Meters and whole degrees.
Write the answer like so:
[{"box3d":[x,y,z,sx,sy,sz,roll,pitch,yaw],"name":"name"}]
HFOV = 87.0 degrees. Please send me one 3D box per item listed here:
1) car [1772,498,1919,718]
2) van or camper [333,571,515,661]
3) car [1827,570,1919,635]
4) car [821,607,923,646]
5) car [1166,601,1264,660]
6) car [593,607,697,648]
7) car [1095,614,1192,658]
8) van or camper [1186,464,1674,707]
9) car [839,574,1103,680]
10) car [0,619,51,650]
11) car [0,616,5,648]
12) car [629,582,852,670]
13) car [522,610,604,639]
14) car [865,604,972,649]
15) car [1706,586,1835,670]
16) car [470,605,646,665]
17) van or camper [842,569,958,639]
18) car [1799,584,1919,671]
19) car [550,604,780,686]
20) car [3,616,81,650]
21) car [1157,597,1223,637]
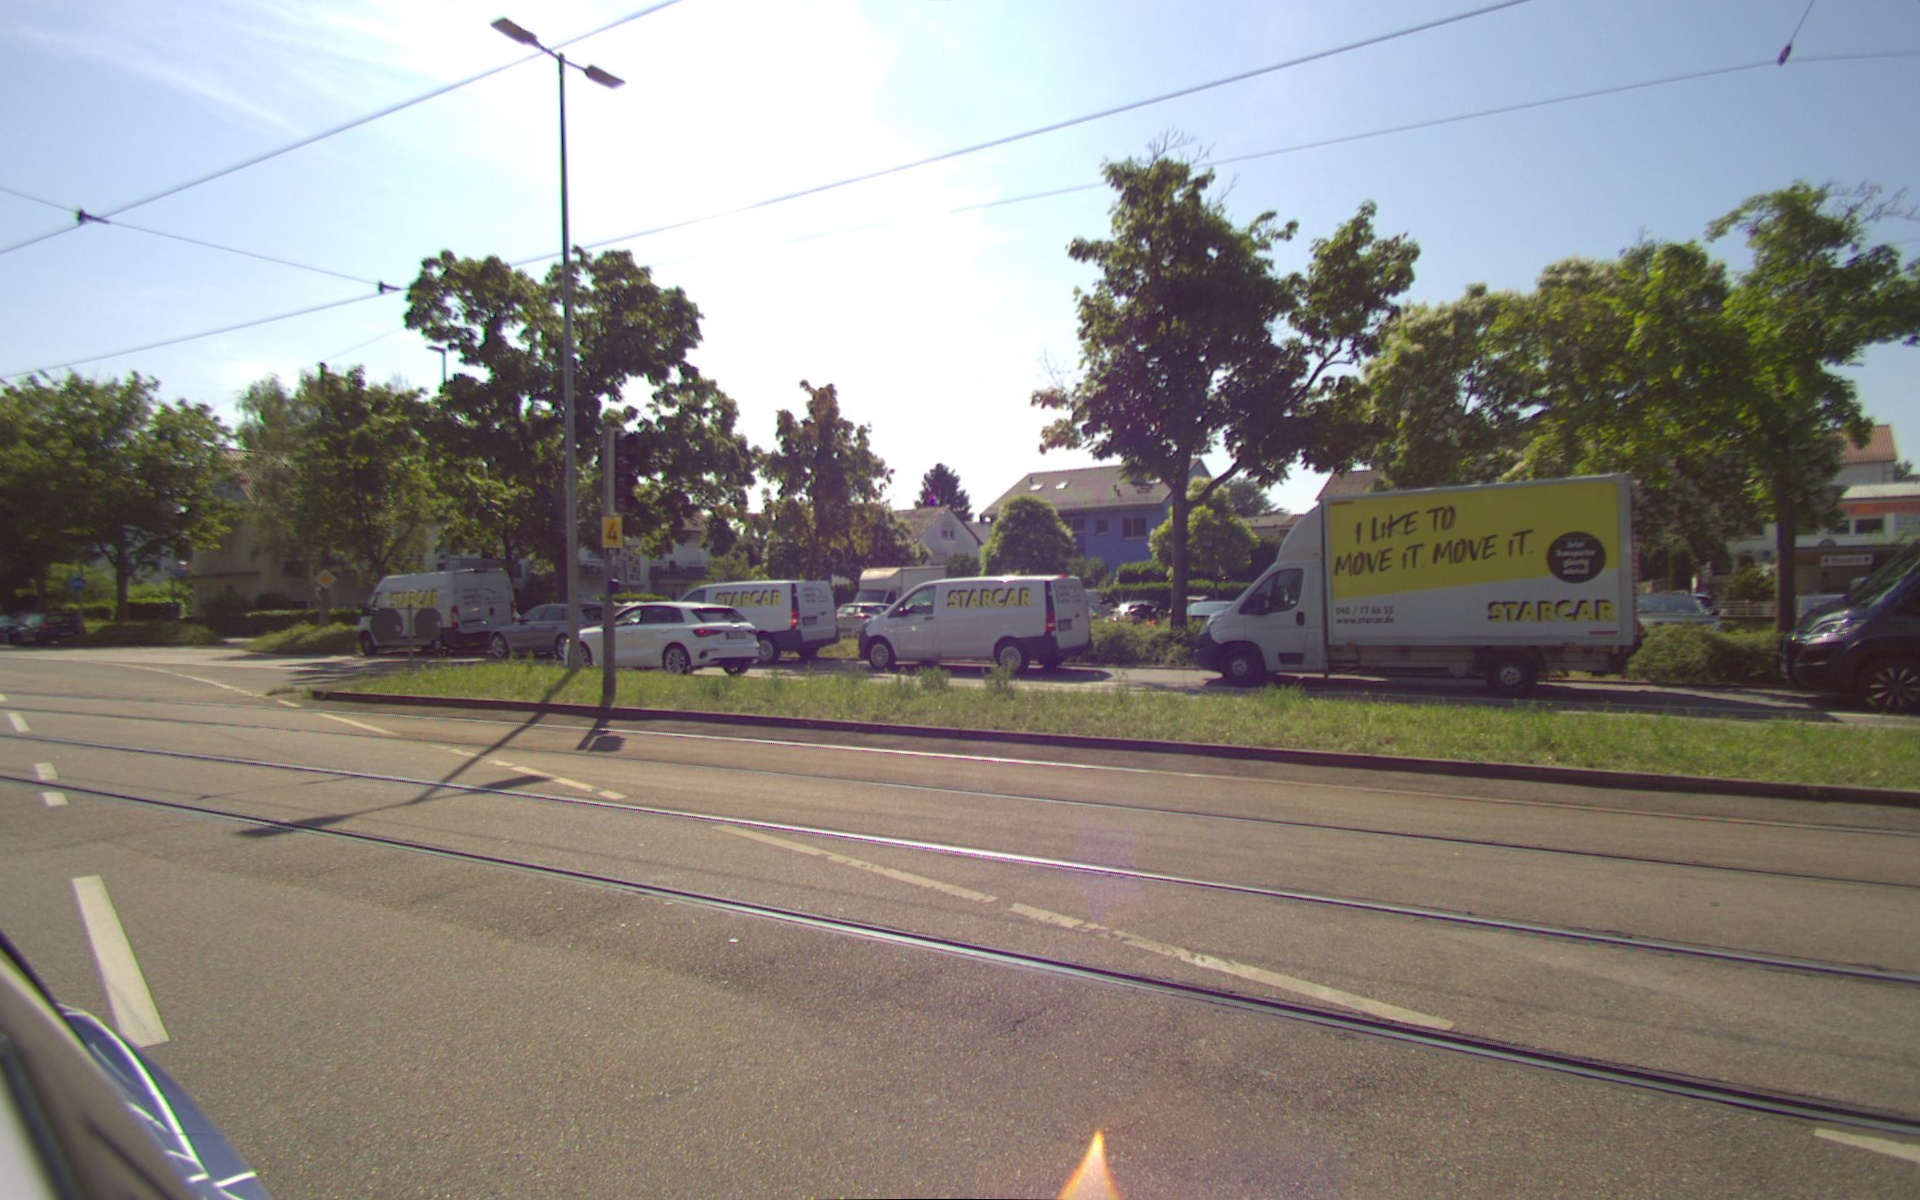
[{"box3d":[13.911,0.038,12.271,6.058,2.688,2.180,-1,1,32],"name":"car"},{"box3d":[-16.500,0.489,31.034,6.128,2.534,2.240,-1,-1,33],"name":"van or camper"},{"box3d":[30.484,0.079,33.415,1.901,2.018,3.963,-1,-1,27],"name":"car"},{"box3d":[-3.050,0.886,35.684,1.657,1.280,3.888,0,-1,30],"name":"car"},{"box3d":[7.290,0.807,28.675,1.657,1.556,3.959,0,-1,30],"name":"car"},{"box3d":[-12.639,1.062,40.803,1.656,1.556,3.960,0,-1,29],"name":"car"},{"box3d":[5.521,1.028,30.132,1.657,1.162,3.861,0,0,30],"name":"car"},{"box3d":[7.298,-0.191,16.340,6.750,3.265,2.179,-1,1,33],"name":"van or camper"},{"box3d":[0.170,0.515,21.237,5.168,1.955,2.179,-1,2,33],"name":"car"},{"box3d":[-45.852,1.647,48.851,4.564,1.405,1.684,-1,-1,31],"name":"car"},{"box3d":[-50.708,1.627,51.662,4.224,1.625,1.664,0,0,29],"name":"car"},{"box3d":[-5.421,0.607,24.910,5.159,1.955,2.183,-1,1,27],"name":"car"},{"box3d":[-22.073,1.347,56.404,1.805,1.536,3.950,-1,-1,37],"name":"car"},{"box3d":[-1.333,0.858,34.036,1.726,1.420,3.959,-1,0,30],"name":"car"},{"box3d":[17.904,0.577,22.530,1.657,1.707,3.959,0,-1,30],"name":"car"},{"box3d":[-10.998,0.899,27.600,4.868,1.465,1.918,-1,1,31],"name":"car"},{"box3d":[-2.892,0.202,51.135,2.571,3.269,6.904,-1,-1,29],"name":"van or camper"},{"box3d":[19.485,0.548,21.698,1.657,1.707,3.959,0,-1,30],"name":"car"},{"box3d":[-5.728,0.803,19.567,4.317,1.433,1.779,-1,0,29],"name":"car"},{"box3d":[-41.838,1.480,46.106,4.070,1.461,1.603,-1,-1,33],"name":"car"},{"box3d":[9.685,0.695,42.485,1.777,1.556,3.963,-1,-1,27],"name":"car"}]
